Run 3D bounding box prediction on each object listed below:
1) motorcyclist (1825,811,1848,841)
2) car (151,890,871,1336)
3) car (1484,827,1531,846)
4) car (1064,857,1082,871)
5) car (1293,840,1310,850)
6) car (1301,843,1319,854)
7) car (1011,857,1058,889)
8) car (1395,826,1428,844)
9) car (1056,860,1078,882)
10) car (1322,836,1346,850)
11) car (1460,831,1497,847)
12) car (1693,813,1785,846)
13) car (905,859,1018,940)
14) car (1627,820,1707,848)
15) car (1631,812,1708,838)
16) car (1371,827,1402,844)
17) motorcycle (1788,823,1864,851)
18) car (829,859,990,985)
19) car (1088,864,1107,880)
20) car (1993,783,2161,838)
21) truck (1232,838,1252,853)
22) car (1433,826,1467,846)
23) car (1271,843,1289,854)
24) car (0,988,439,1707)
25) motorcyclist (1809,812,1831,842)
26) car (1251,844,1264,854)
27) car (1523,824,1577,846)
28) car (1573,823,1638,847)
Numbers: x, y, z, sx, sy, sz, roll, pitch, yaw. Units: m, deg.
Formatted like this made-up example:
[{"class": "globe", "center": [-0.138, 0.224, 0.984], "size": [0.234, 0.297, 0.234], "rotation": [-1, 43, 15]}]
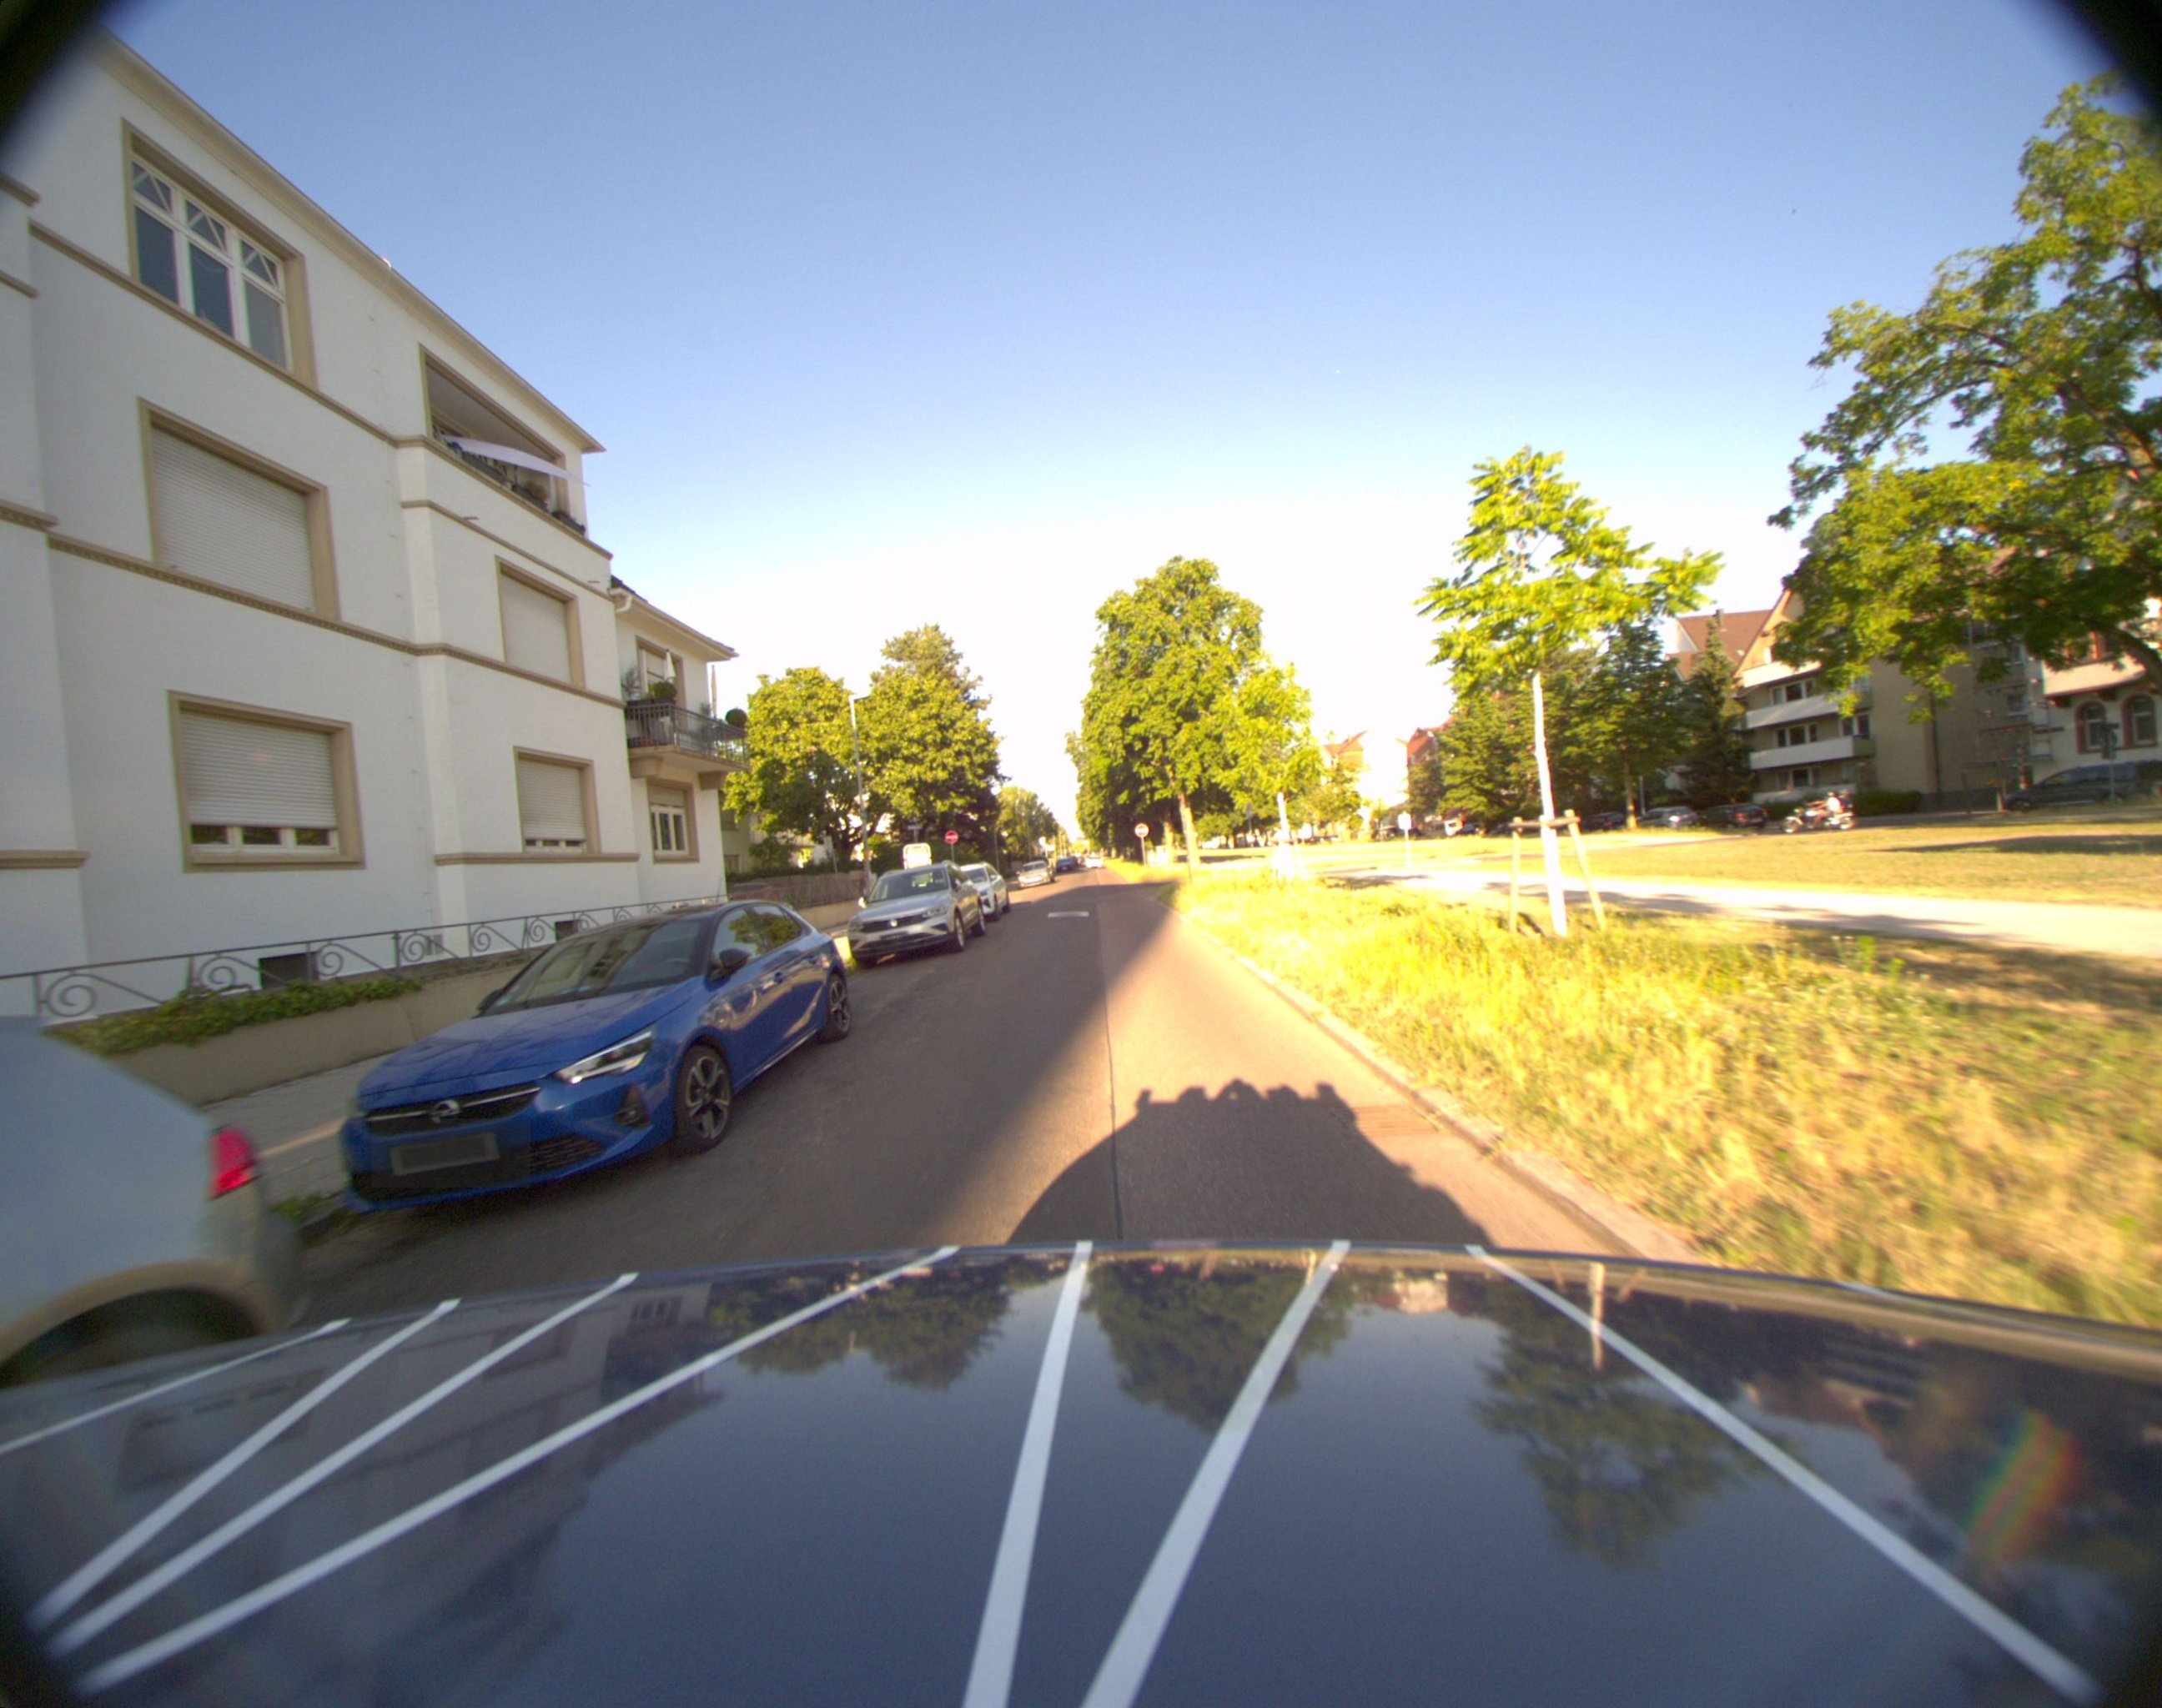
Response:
[{"class": "motorcyclist", "center": [30.178, -1.133, 30.363], "size": [0.574, 1.143, 0.752], "rotation": [-4, 0, 44]}, {"class": "car", "center": [-3.112, 1.254, 5.519], "size": [1.767, 1.427, 4.302], "rotation": [-10, 1, 0]}, {"class": "car", "center": [34.553, -1.385, 61.703], "size": [1.560, 1.323, 3.642], "rotation": [-4, -1, -3]}, {"class": "car", "center": [-0.992, 1.253, 95.390], "size": [1.998, 1.624, 4.001], "rotation": [-4, -1, 2]}, {"class": "car", "center": [42.178, -1.781, 145.485], "size": [1.999, 1.834, 3.998], "rotation": [-1, 1, -2]}, {"class": "car", "center": [41.463, -0.978, 137.675], "size": [1.999, 1.872, 3.998], "rotation": [-1, 1, -2]}, {"class": "car", "center": [-2.591, 1.042, 43.512], "size": [2.111, 1.396, 4.132], "rotation": [-9, 0, 1]}, {"class": "car", "center": [35.225, -1.988, 81.086], "size": [1.998, 1.833, 4.000], "rotation": [-1, 1, 2]}, {"class": "car", "center": [-1.481, 1.781, 80.722], "size": [1.998, 2.179, 4.001], "rotation": [-4, -1, 2]}, {"class": "car", "center": [36.003, -1.547, 108.265], "size": [1.998, 1.692, 4.001], "rotation": [-4, -1, 1]}, {"class": "car", "center": [41.323, -1.597, 79.128], "size": [1.998, 1.596, 4.000], "rotation": [-1, 1, 4]}, {"class": "car", "center": [34.740, -1.248, 40.262], "size": [1.894, 1.513, 3.682], "rotation": [-4, 0, 7]}, {"class": "car", "center": [-3.012, 1.089, 20.243], "size": [1.880, 1.525, 4.589], "rotation": [-10, 1, 3]}, {"class": "car", "center": [34.412, -1.146, 44.766], "size": [1.692, 1.399, 3.642], "rotation": [-4, -1, -3]}, {"class": "car", "center": [40.551, -1.970, 52.495], "size": [1.999, 1.490, 3.999], "rotation": [-4, -1, -3]}, {"class": "car", "center": [35.287, -2.110, 87.860], "size": [1.998, 1.833, 4.000], "rotation": [-1, 1, 2]}, {"class": "motorcycle", "center": [29.989, -0.662, 30.637], "size": [2.106, 0.951, 0.567], "rotation": [-5, 0, 42]}, {"class": "car", "center": [-3.008, 1.099, 14.417], "size": [1.805, 1.639, 4.583], "rotation": [-9, 1, 0]}, {"class": "car", "center": [1.807, 1.981, 84.613], "size": [1.998, 1.483, 4.000], "rotation": [-2, 1, 1]}, {"class": "car", "center": [40.111, -1.691, 30.514], "size": [1.624, 1.814, 4.288], "rotation": [-4, -1, -3]}, {"class": "truck", "center": [37.110, -1.867, 175.185], "size": [2.785, 3.127, 7.710], "rotation": [-4, 0, 0]}, {"class": "car", "center": [41.322, -1.951, 85.210], "size": [1.998, 2.002, 4.001], "rotation": [-4, 0, 4]}, {"class": "car", "center": [36.429, -1.049, 139.258], "size": [2.125, 2.002, 3.999], "rotation": [-1, 1, 0]}, {"class": "car", "center": [-3.229, 1.316, 0.236], "size": [1.916, 1.550, 4.567], "rotation": [-9, -1, 1]}, {"class": "motorcyclist", "center": [29.847, -1.097, 30.692], "size": [0.574, 1.143, 0.752], "rotation": [-4, 0, 44]}, {"class": "car", "center": [37.007, -1.049, 159.457], "size": [1.998, 2.001, 4.001], "rotation": [-4, -1, 4]}, {"class": "car", "center": [34.769, -1.403, 56.408], "size": [1.560, 1.407, 3.642], "rotation": [-4, -1, -3]}, {"class": "car", "center": [34.557, -1.245, 50.197], "size": [1.560, 1.360, 3.642], "rotation": [-4, -1, -3]}]
